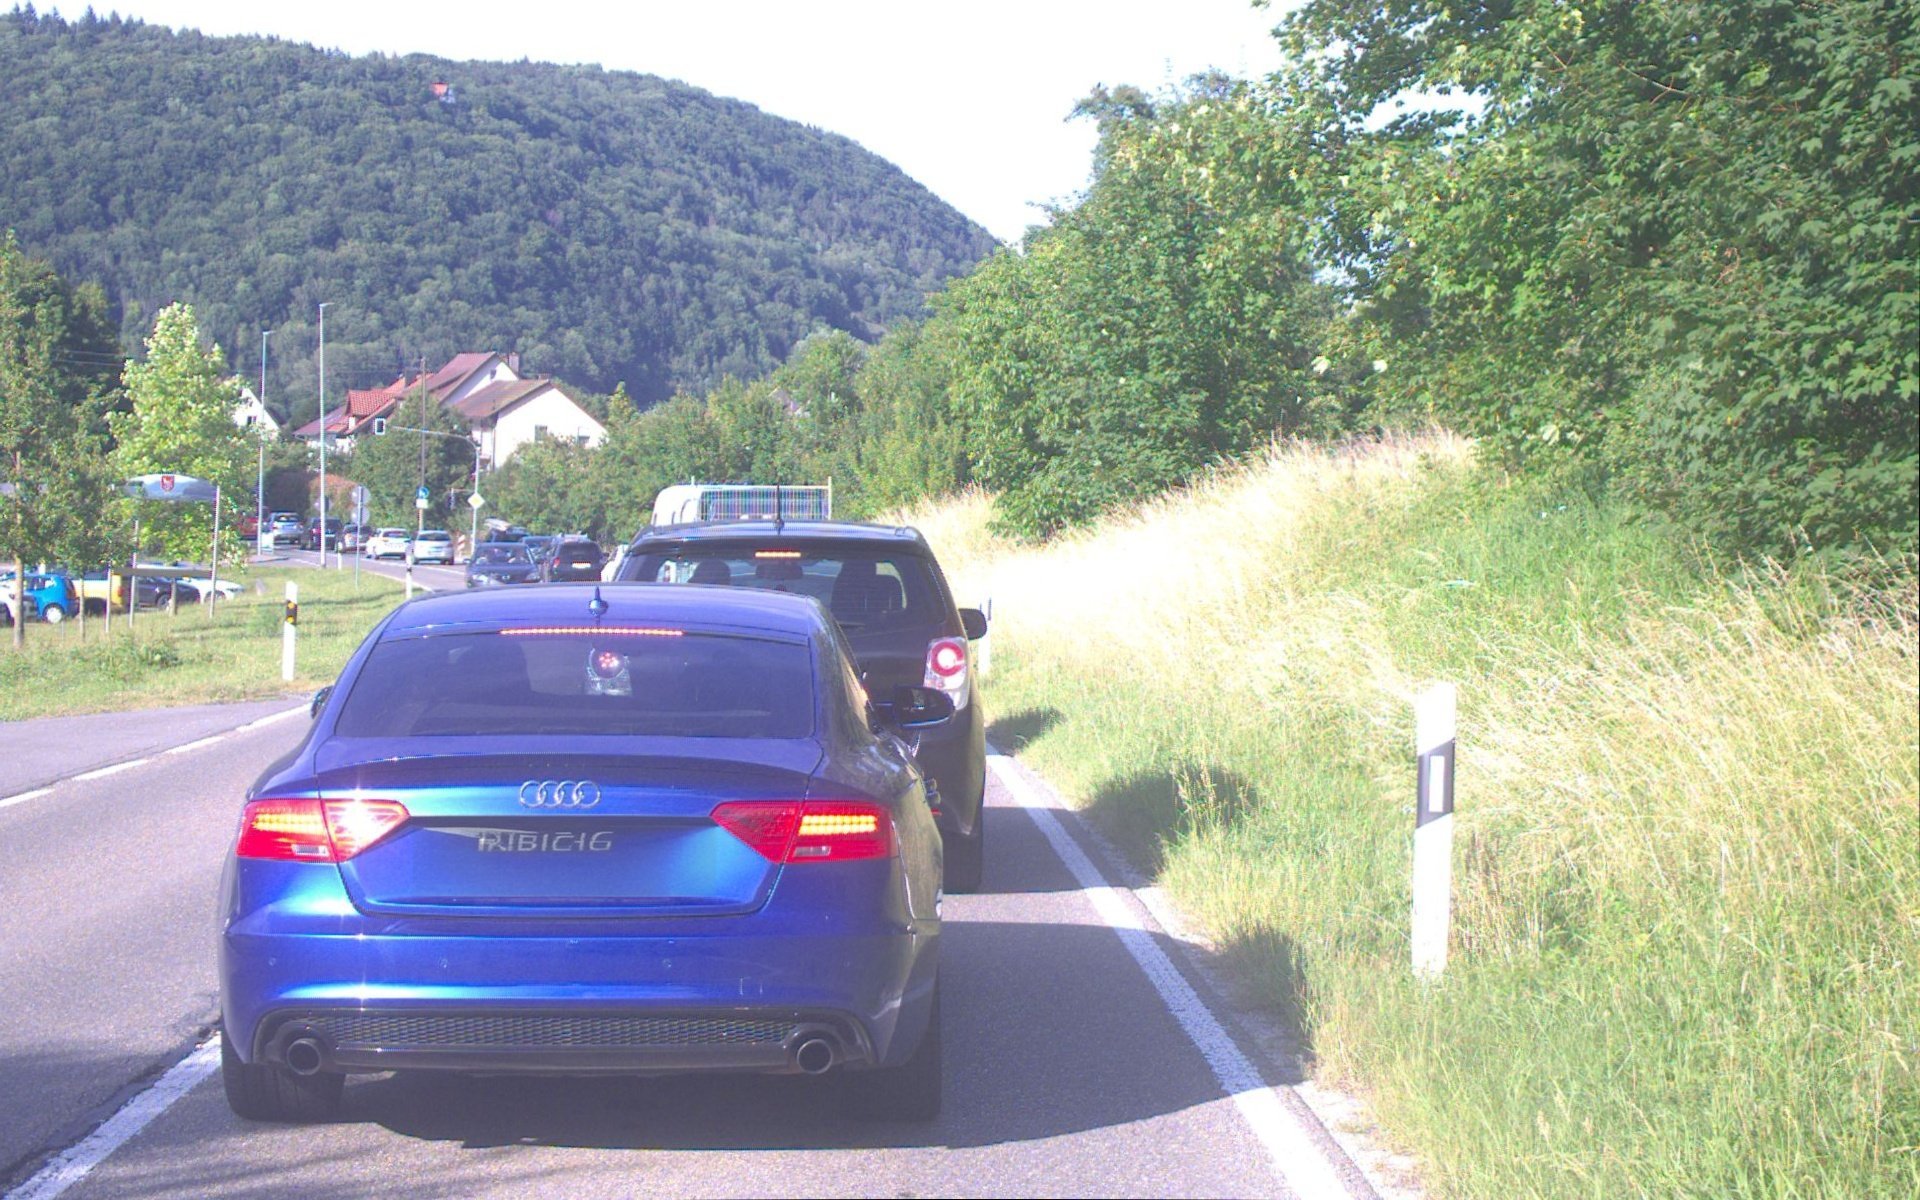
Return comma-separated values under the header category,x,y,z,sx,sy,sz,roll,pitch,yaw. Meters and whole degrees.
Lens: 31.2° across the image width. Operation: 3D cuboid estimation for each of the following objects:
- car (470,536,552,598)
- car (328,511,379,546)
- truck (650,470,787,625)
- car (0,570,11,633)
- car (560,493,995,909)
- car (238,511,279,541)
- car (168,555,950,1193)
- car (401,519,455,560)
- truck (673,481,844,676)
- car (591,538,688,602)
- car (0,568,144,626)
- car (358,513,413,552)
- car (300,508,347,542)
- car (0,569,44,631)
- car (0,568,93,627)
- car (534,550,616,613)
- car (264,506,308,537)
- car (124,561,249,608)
category,x,y,z,sx,sy,sz,roll,pitch,yaw
car,-10.680,-0.787,81.586,1.703,1.425,4.052,1,1,-11
car,-29.963,-3.516,169.745,1.845,1.706,4.001,1,1,-19
truck,-4.325,-0.911,60.613,2.229,2.561,6.709,1,1,-5
car,-28.071,0.005,93.517,3.986,1.705,2.000,1,0,-3
car,-0.749,0.393,15.942,1.754,1.675,3.846,1,1,0
car,-40.952,-4.305,200.676,1.845,1.706,4.001,1,1,-19
car,-0.917,0.604,9.727,1.754,1.425,3.846,1,1,0
car,-22.511,-2.554,145.377,1.845,1.706,4.001,1,1,-15
truck,-2.911,-0.312,48.553,2.229,2.561,6.104,1,1,-5
car,-7.741,-0.737,82.766,1.845,1.477,4.001,1,1,-12
car,-27.168,-0.094,105.140,3.986,1.705,2.000,1,0,-3
car,-26.240,-3.062,157.036,1.845,1.706,4.001,1,1,-19
car,-33.210,-3.886,179.340,1.845,1.706,4.001,1,1,-19
car,-28.032,-0.026,96.802,3.986,1.705,2.000,1,0,-3
car,-28.082,-0.082,102.589,3.986,1.705,2.000,1,0,-3
car,-10.792,-0.538,96.163,1.845,1.706,4.001,1,1,-12
car,-37.460,-4.350,191.087,1.845,1.706,4.001,1,1,-19
car,-26.953,-0.533,119.887,3.986,1.573,1.753,1,0,-3
